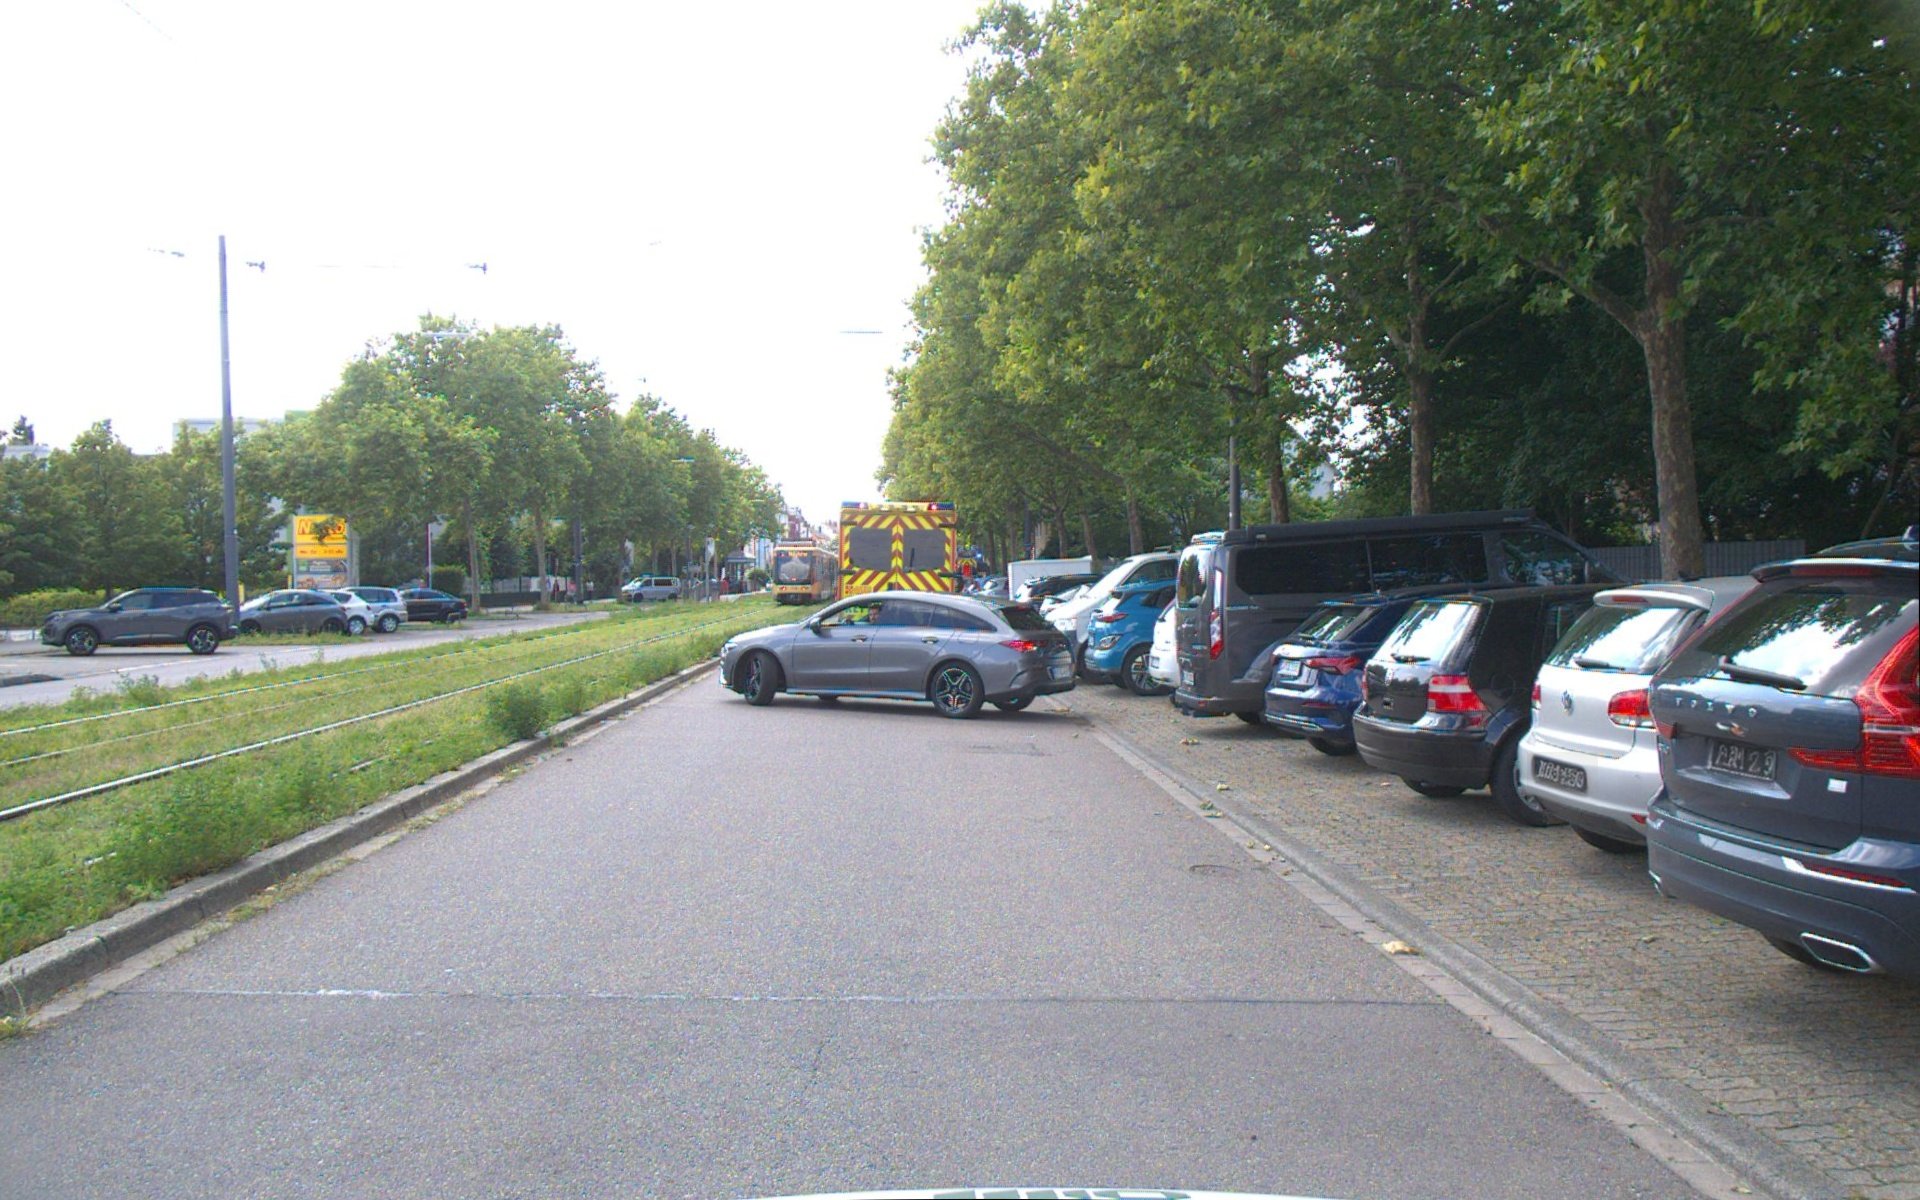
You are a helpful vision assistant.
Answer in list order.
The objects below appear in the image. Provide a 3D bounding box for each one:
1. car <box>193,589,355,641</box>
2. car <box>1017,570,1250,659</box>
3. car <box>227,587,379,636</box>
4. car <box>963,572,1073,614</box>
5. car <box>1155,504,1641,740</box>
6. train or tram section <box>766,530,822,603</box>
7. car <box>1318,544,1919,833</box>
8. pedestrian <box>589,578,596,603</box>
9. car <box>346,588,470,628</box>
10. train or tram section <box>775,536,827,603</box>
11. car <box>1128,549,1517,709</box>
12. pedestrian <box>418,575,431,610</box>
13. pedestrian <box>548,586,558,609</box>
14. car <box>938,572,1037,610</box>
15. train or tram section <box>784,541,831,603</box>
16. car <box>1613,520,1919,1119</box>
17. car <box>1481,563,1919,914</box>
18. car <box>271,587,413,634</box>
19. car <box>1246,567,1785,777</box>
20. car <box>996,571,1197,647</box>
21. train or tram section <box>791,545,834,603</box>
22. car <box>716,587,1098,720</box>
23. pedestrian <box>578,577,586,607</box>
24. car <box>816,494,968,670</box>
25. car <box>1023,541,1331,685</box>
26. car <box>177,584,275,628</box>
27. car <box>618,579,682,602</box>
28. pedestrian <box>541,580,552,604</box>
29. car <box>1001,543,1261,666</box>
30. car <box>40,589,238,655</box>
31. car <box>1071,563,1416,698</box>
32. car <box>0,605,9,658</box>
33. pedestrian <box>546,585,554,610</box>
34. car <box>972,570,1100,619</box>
[{"bbox_3d":[-20.698,0.434,49.963,4.192,1.508,1.858,0,0,-38],"label":"car"},{"bbox_3d":[3.535,0.274,34.072,4.458,1.636,1.853,-2,1,-6],"label":"car"},{"bbox_3d":[-20.984,0.345,52.882,4.192,1.508,1.858,0,0,-38],"label":"car"},{"bbox_3d":[2.448,-0.296,70.610,4.458,1.636,1.853,-2,1,-6],"label":"car"},{"bbox_3d":[4.388,0.199,17.021,4.455,2.160,1.855,-2,0,-3],"label":"car"},{"bbox_3d":[-8.842,-1.727,88.606,2.462,3.646,7.441,-2,0,-3],"label":"train or tram section"},{"bbox_3d":[4.591,0.496,11.089,3.897,1.633,1.750,-2,1,-13],"label":"car"},{"bbox_3d":[-26.794,-0.686,120.598,0.457,1.860,0.422,-1,0,-4],"label":"pedestrian"},{"bbox_3d":[-21.362,0.289,64.134,4.199,1.508,1.854,0,0,-42],"label":"car"},{"bbox_3d":[-9.179,-1.706,96.027,2.462,3.646,7.441,-2,0,-3],"label":"train or tram section"},{"bbox_3d":[4.501,0.340,20.971,4.455,1.797,1.855,-2,1,-3],"label":"car"},{"bbox_3d":[-26.464,-0.390,81.778,0.457,1.706,0.603,-1,0,-4],"label":"pedestrian"},{"bbox_3d":[-25.600,-0.181,104.081,0.412,1.439,0.467,-1,0,22],"label":"pedestrian"},{"bbox_3d":[1.293,-0.422,78.799,4.458,1.636,1.853,-2,1,-6],"label":"car"},{"bbox_3d":[-9.508,-1.686,103.462,2.462,3.646,7.441,-2,0,-3],"label":"train or tram section"},{"bbox_3d":[4.683,0.540,5.521,4.292,1.668,1.756,-2,1,-1],"label":"car"},{"bbox_3d":[4.876,0.576,8.372,3.886,1.520,1.755,-2,1,-3],"label":"car"},{"bbox_3d":[-20.882,0.337,55.945,4.192,1.508,1.858,0,0,-38],"label":"car"},{"bbox_3d":[4.525,0.552,13.849,3.886,1.520,1.755,-2,0,-3],"label":"car"},{"bbox_3d":[3.187,0.196,39.217,4.458,1.636,1.853,-2,1,-6],"label":"car"},{"bbox_3d":[-9.830,-1.665,110.895,2.462,3.646,7.441,-2,0,-3],"label":"train or tram section"},{"bbox_3d":[-0.663,0.598,20.349,4.365,1.409,1.765,1,0,25],"label":"car"},{"bbox_3d":[-22.460,-0.461,98.214,0.413,1.760,0.467,-1,0,-7],"label":"pedestrian"},{"bbox_3d":[-1.240,-0.343,32.418,2.588,3.018,6.298,2,0,-1],"label":"car"},{"bbox_3d":[3.344,0.177,25.993,4.458,2.035,1.853,-2,0,-6],"label":"car"},{"bbox_3d":[-32.399,0.249,73.029,3.912,1.780,1.997,2,1,29],"label":"car"},{"bbox_3d":[-24.065,-0.741,128.583,4.588,1.661,1.855,-2,1,-42],"label":"car"},{"bbox_3d":[-27.715,-0.535,110.928,0.620,1.578,0.621,-1,0,-5],"label":"pedestrian"},{"bbox_3d":[3.117,0.065,30.579,4.458,2.079,1.853,-2,0,-6],"label":"car"},{"bbox_3d":[-19.755,0.505,39.919,4.171,1.508,1.867,0,0,-27],"label":"car"},{"bbox_3d":[3.962,0.393,23.482,4.459,1.689,1.853,-2,1,-7],"label":"car"},{"bbox_3d":[-31.106,0.929,49.766,3.905,1.592,1.777,1,0,0],"label":"car"},{"bbox_3d":[-25.341,-0.156,102.254,0.413,1.499,0.467,-1,0,-7],"label":"pedestrian"},{"bbox_3d":[2.774,-0.194,60.768,4.458,1.636,1.853,-2,1,-6],"label":"car"}]
